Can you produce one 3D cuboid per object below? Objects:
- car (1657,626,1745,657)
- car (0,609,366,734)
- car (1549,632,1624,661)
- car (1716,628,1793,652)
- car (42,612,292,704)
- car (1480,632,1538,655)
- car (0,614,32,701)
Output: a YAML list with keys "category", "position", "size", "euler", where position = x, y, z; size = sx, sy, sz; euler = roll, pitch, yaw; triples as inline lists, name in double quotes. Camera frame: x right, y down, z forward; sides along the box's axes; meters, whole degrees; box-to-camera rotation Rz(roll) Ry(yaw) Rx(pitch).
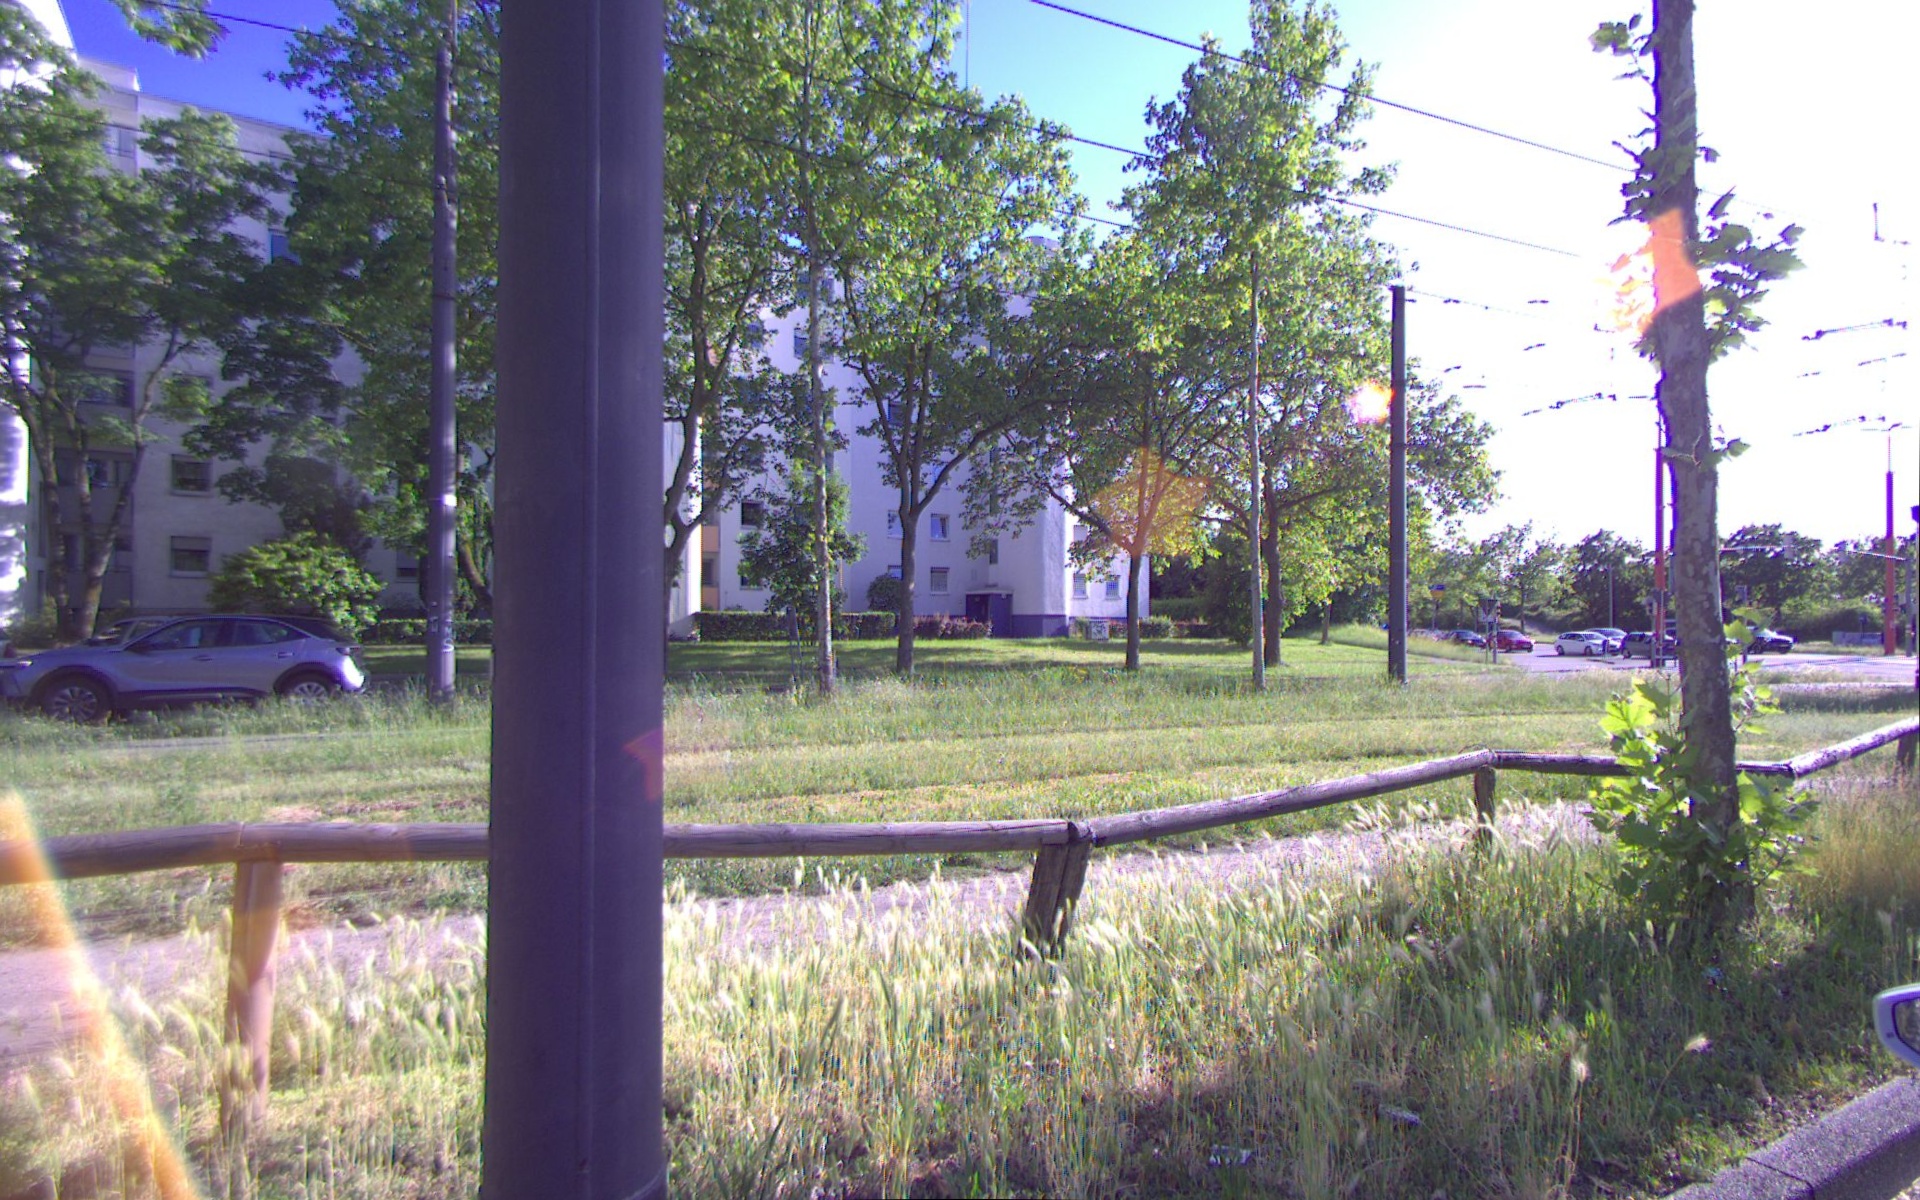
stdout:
- category: "car"
  position: [42.516, 2.343, 57.752]
  size: [1.962, 1.666, 3.997]
  euler: [1, -1, -5]
- category: "car"
  position: [-10.867, 0.934, 14.061]
  size: [4.278, 1.543, 1.798]
  euler: [1, -1, -29]
- category: "car"
  position: [38.883, 2.860, 62.462]
  size: [1.833, 1.633, 4.185]
  euler: [1, -1, -4]
- category: "car"
  position: [48.781, 2.431, 61.738]
  size: [1.664, 1.347, 4.001]
  euler: [1, -1, 2]
- category: "car"
  position: [-14.550, 1.004, 18.465]
  size: [3.898, 1.462, 1.710]
  euler: [1, 0, 18]
- category: "car"
  position: [38.456, 3.036, 70.414]
  size: [1.699, 1.533, 3.998]
  euler: [1, -1, -4]
- category: "car"
  position: [-17.936, 0.951, 17.130]
  size: [3.547, 1.439, 1.576]
  euler: [1, 0, 18]
